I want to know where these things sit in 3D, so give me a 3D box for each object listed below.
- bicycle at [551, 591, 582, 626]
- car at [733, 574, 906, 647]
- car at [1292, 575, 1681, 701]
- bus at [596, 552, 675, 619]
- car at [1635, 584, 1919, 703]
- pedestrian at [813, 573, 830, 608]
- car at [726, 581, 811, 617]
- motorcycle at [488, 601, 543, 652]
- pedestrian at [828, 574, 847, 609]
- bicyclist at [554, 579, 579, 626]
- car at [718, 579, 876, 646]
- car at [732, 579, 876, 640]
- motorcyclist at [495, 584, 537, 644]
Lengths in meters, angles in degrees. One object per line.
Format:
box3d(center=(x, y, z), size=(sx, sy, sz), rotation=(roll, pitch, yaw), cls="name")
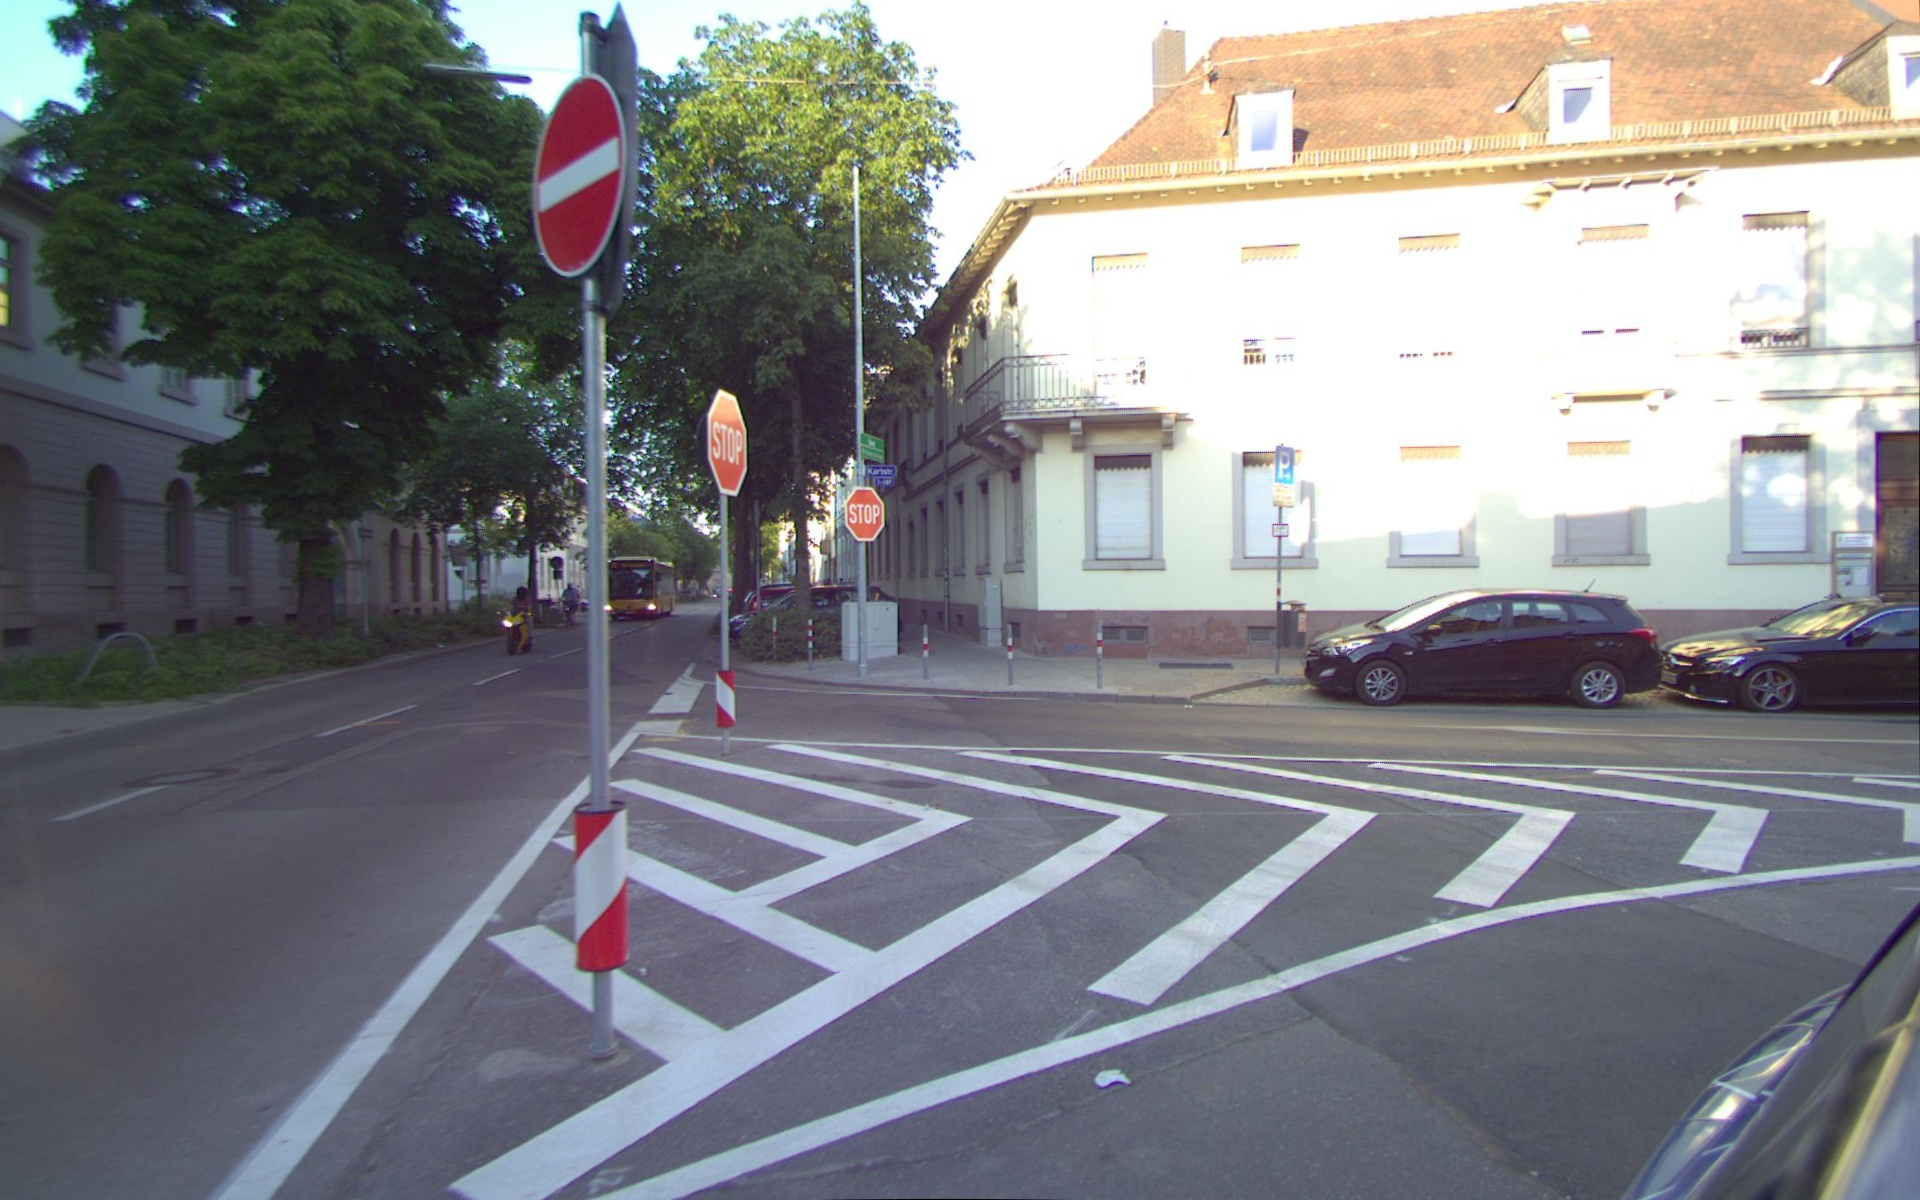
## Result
box3d(center=(-16.010, 0.312, 41.216), size=(0.768, 1.346, 2.082), rotation=(-3, 1, -12), cls="bicycle")
box3d(center=(-3.379, 0.213, 24.135), size=(3.916, 1.635, 1.832), rotation=(-1, 1, -13), cls="car")
box3d(center=(6.955, 0.469, 13.859), size=(4.361, 1.561, 1.801), rotation=(0, 0, 12), cls="car")
box3d(center=(-17.000, -0.792, 53.808), size=(2.657, 3.037, 12.105), rotation=(-3, 1, -12), cls="bus")
box3d(center=(11.648, 0.506, 12.828), size=(4.783, 1.412, 1.772), rotation=(0, 0, 13), cls="car")
box3d(center=(-7.179, -0.517, 52.359), size=(0.790, 1.793, 1.023), rotation=(-1, 1, -13), cls="pedestrian")
box3d(center=(-9.183, -0.071, 48.404), size=(3.916, 1.635, 1.727), rotation=(-1, 1, -13), cls="car")
box3d(center=(-11.084, 0.636, 25.291), size=(0.777, 1.175, 1.970), rotation=(-2, 1, -10), cls="motorcycle")
box3d(center=(-6.361, -0.424, 52.547), size=(0.876, 1.793, 1.023), rotation=(-1, 1, -13), cls="pedestrian")
box3d(center=(-16.016, 0.087, 41.187), size=(0.768, 1.862, 0.828), rotation=(-3, 1, -12), cls="bicyclist")
box3d(center=(-4.291, 0.283, 26.453), size=(3.916, 1.635, 1.727), rotation=(-1, 1, -13), cls="car")
box3d(center=(-4.475, 0.237, 28.902), size=(3.916, 1.635, 1.727), rotation=(-1, 1, -13), cls="car")
box3d(center=(-11.100, 0.335, 25.342), size=(0.777, 1.438, 0.700), rotation=(-2, 1, -10), cls="motorcyclist")
